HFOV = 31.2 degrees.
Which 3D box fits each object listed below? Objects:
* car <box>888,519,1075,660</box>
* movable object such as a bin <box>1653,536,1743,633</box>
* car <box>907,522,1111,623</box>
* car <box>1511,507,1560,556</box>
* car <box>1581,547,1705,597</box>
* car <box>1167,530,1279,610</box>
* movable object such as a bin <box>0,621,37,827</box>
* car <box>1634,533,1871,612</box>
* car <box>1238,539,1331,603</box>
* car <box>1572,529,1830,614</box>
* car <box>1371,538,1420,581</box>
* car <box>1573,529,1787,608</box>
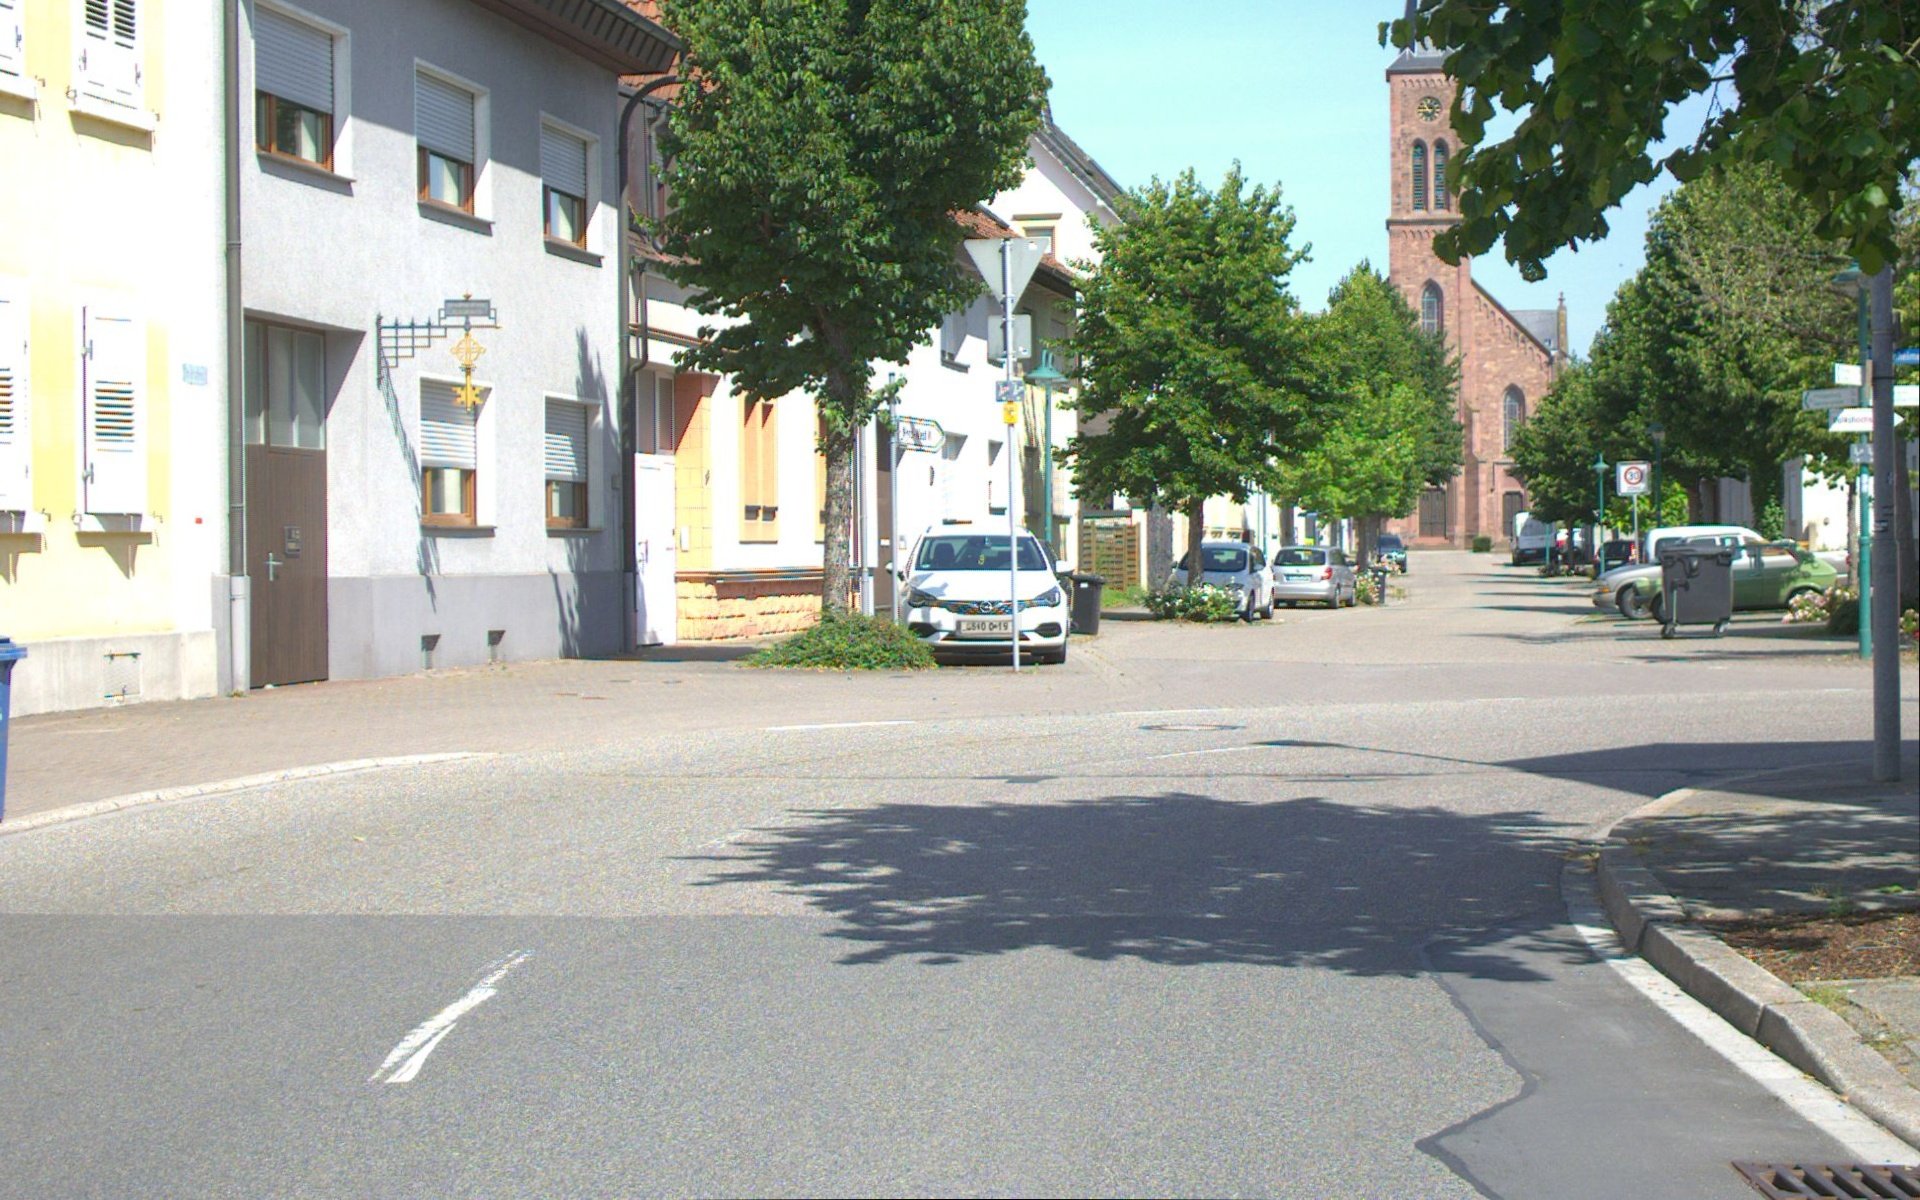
[{"bbox_3d":[0.175,-0.161,37.547,1.849,1.435,4.514,0,1,-2],"label":"car"},{"bbox_3d":[10.277,-0.221,47.871,1.188,1.333,0.788,-1,1,13],"label":"movable object such as a bin"},{"bbox_3d":[0.805,-0.452,51.547,1.985,1.435,5.208,0,1,13],"label":"car"},{"bbox_3d":[27.649,-3.275,165.065,2.246,2.271,4.501,1,0,10],"label":"car"},{"bbox_3d":[22.995,-0.948,115.853,3.988,1.612,1.999,-1,1,8],"label":"car"},{"bbox_3d":[5.371,-0.627,69.775,1.994,1.568,3.999,-1,1,8],"label":"car"},{"bbox_3d":[-4.936,0.601,16.835,0.642,0.977,0.613,0,1,2],"label":"movable object such as a bin"},{"bbox_3d":[13.861,-0.492,60.327,3.925,1.340,1.999,0,1,10],"label":"car"},{"bbox_3d":[7.584,-0.700,80.638,1.994,1.459,4.000,0,1,3],"label":"car"},{"bbox_3d":[14.355,-0.563,66.820,4.805,1.618,1.999,0,1,10],"label":"car"},{"bbox_3d":[19.037,-1.786,150.395,1.994,1.809,3.999,-1,1,6],"label":"car"},{"bbox_3d":[14.518,-0.647,69.540,4.152,1.563,1.999,0,1,10],"label":"car"}]
